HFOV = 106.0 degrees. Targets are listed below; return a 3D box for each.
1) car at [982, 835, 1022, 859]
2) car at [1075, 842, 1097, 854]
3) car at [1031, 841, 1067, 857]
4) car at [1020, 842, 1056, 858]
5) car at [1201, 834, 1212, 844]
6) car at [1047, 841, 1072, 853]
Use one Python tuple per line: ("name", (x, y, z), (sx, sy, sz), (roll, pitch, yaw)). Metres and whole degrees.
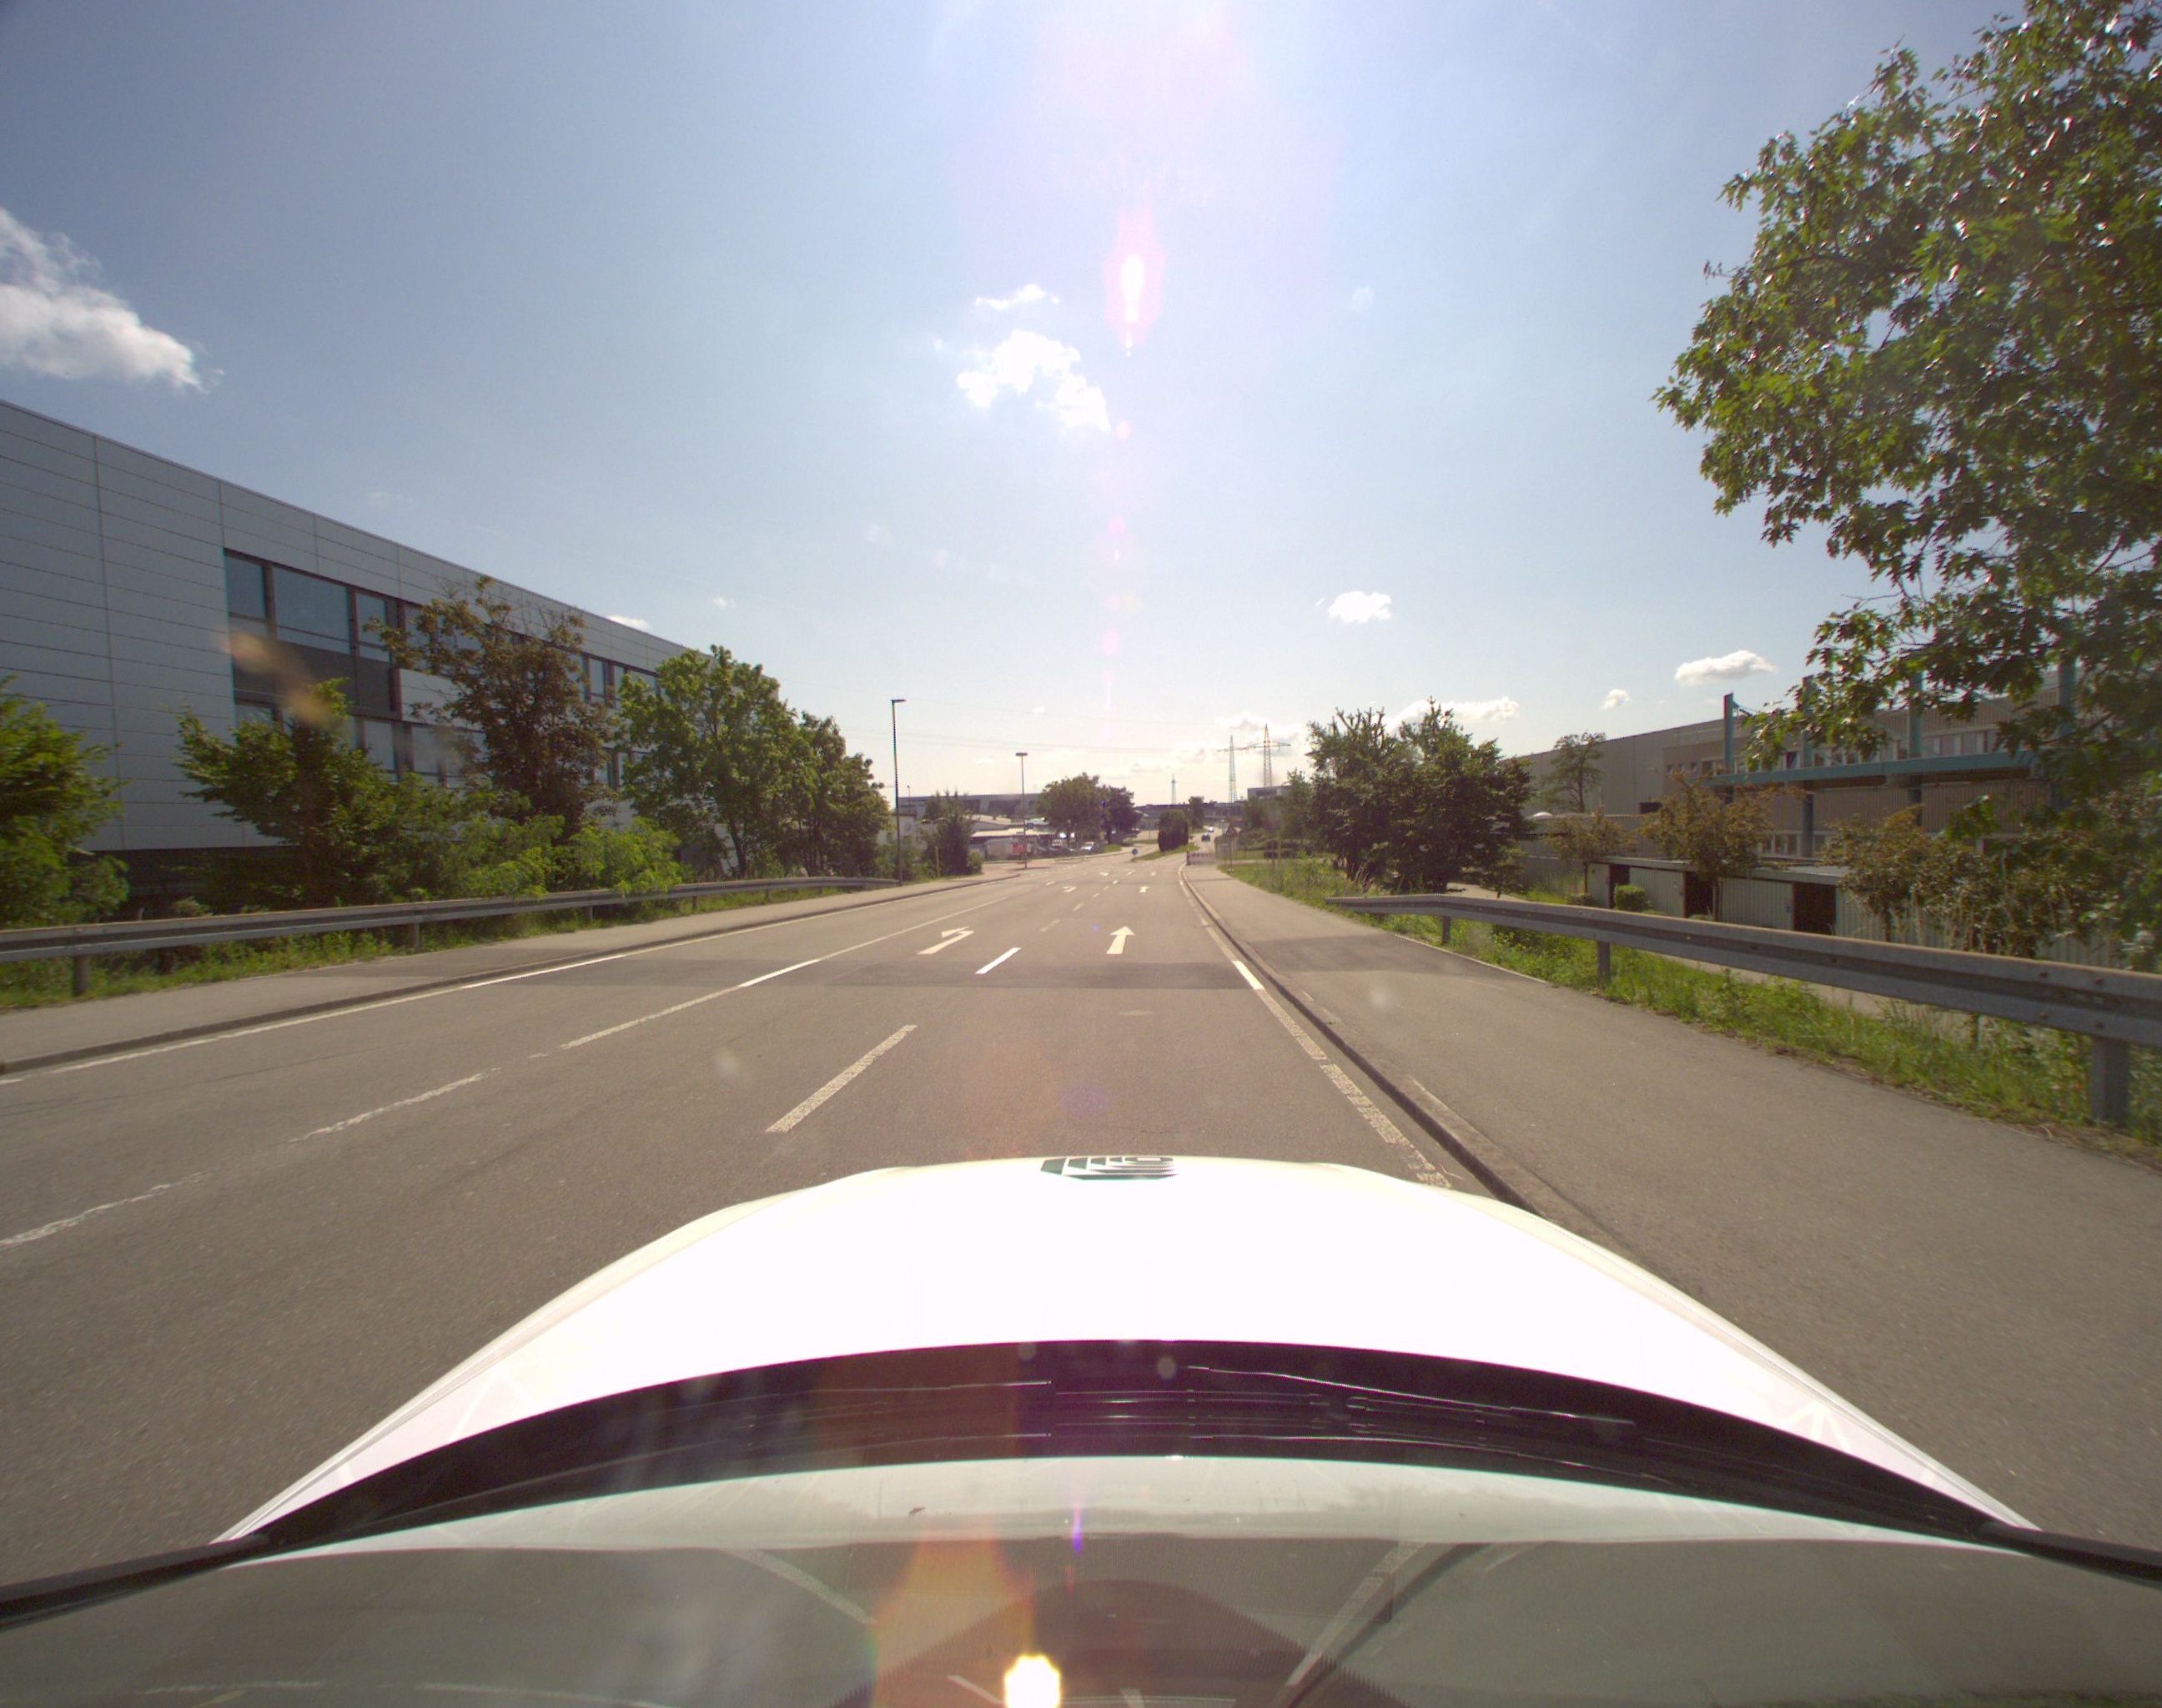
("car", (-9.219, -0.809, 95.104), (4.309, 2.608, 2.013), (-1, 0, 35))
("car", (0.727, -0.807, 111.935), (1.813, 1.517, 3.607), (-1, 1, 21))
("car", (-3.951, -0.664, 100.522), (3.948, 1.903, 2.013), (1, 3, 33))
("car", (-5.208, -0.506, 98.608), (3.948, 1.780, 2.013), (1, 3, 33))
("car", (26.035, -3.105, 169.286), (2.259, 1.946, 4.677), (2, 3, 8))
("car", (-3.596, -1.154, 133.014), (3.980, 1.850, 1.832), (-1, 1, -5))
